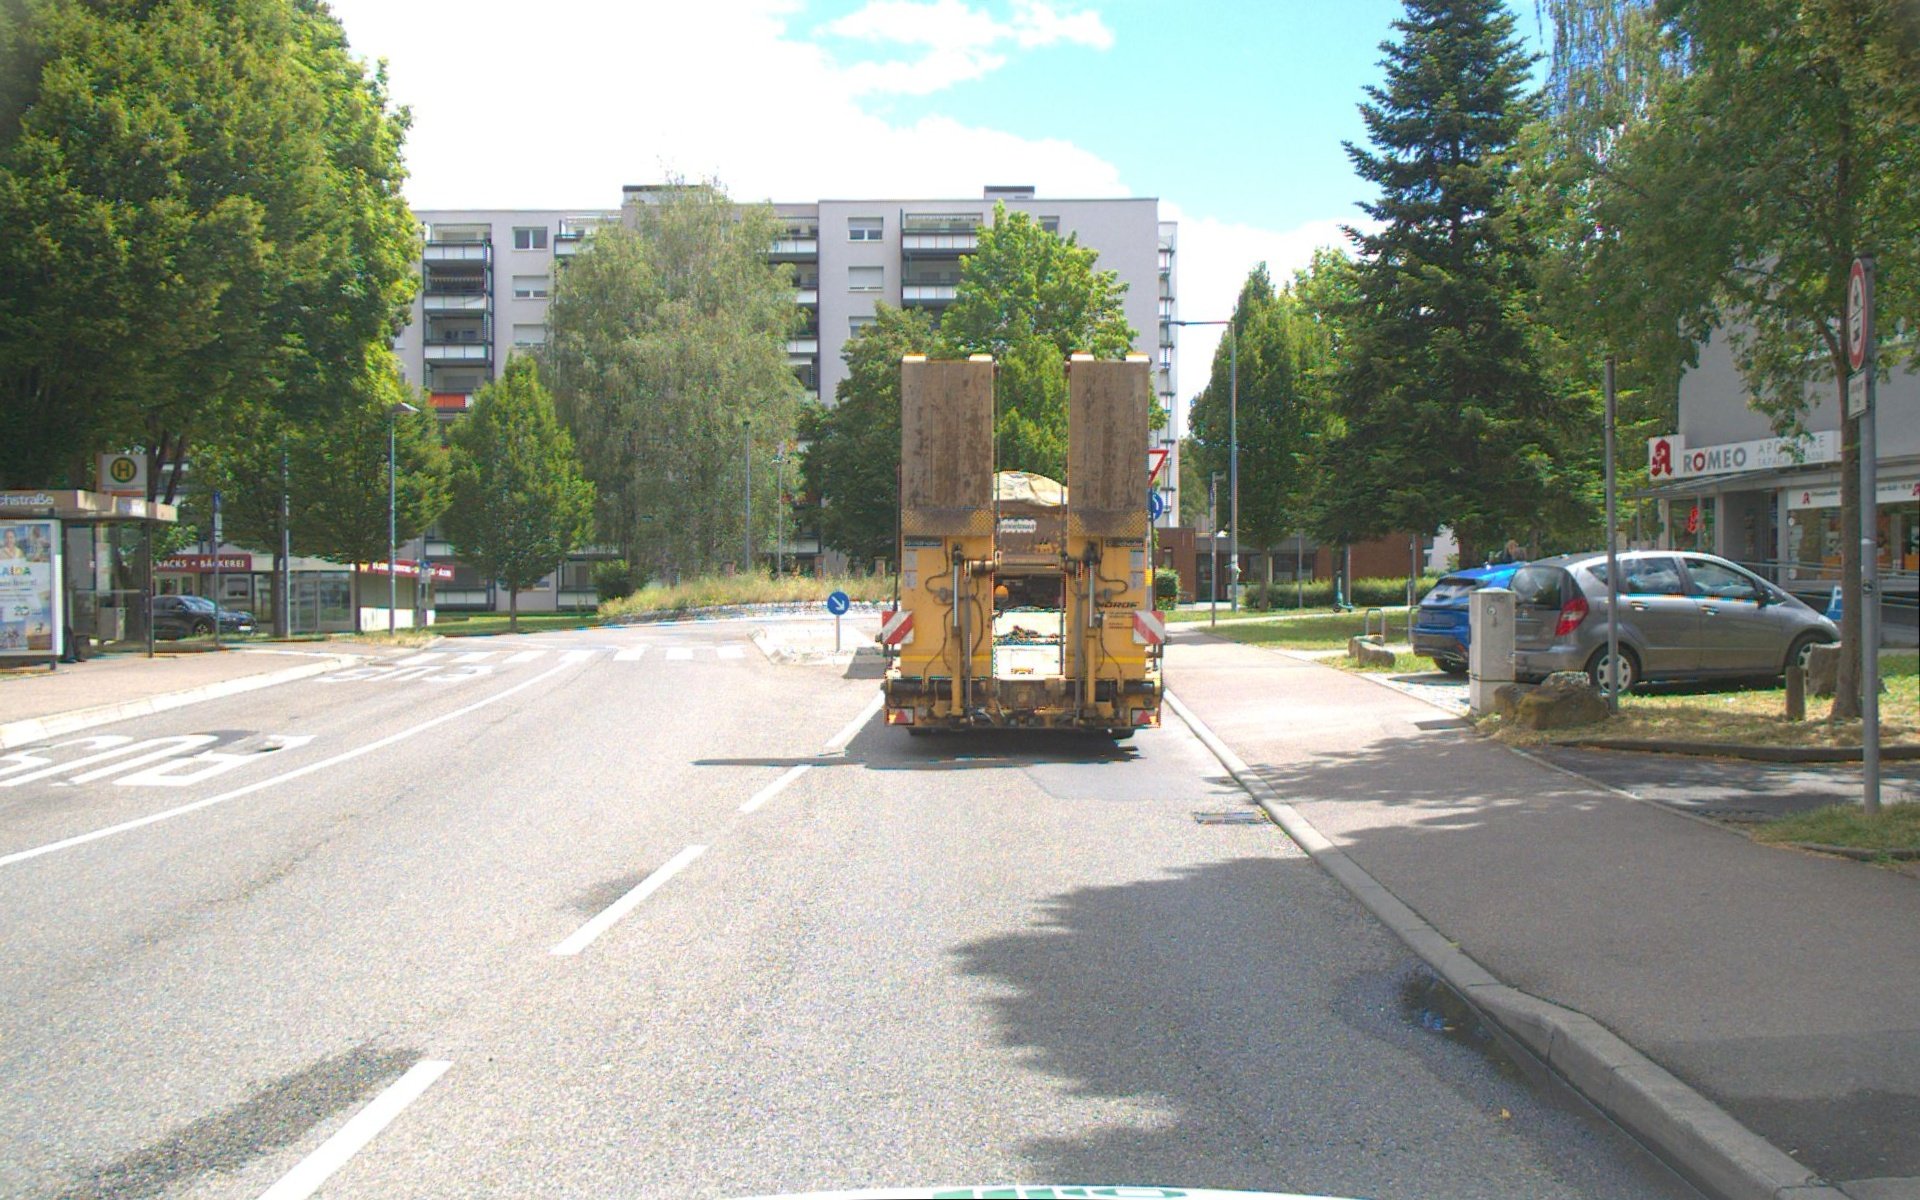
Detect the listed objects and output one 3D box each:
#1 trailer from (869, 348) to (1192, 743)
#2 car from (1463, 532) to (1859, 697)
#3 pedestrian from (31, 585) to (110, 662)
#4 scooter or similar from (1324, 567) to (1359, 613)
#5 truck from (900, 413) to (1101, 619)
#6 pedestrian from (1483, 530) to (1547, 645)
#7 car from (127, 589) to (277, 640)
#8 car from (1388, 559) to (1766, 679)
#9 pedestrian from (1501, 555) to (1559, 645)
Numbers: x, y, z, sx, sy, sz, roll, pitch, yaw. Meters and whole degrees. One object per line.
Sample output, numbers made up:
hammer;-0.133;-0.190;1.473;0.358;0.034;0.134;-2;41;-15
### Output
trailer;0.650;-0.594;19.844;2.805;3.431;10.842;0;1;0
car;7.983;0.134;19.017;3.662;1.584;2.027;-3;1;-11
pedestrian;-13.647;0.357;25.397;0.783;1.155;0.910;0;0;-7
scooter or similar;11.606;-0.313;50.320;0.476;1.366;1.383;-2;1;37
truck;0.467;-1.423;29.387;2.928;3.087;8.483;1;2;-3
pedestrian;10.088;-0.226;30.074;0.642;2.049;1.044;-1;0;-12
car;-24.770;0.475;54.064;4.419;1.552;1.999;-1;0;24
car;8.300;0.227;22.388;4.405;1.265;1.994;-4;1;-13
pedestrian;10.152;-0.005;29.455;0.728;1.556;0.690;-1;0;-8
